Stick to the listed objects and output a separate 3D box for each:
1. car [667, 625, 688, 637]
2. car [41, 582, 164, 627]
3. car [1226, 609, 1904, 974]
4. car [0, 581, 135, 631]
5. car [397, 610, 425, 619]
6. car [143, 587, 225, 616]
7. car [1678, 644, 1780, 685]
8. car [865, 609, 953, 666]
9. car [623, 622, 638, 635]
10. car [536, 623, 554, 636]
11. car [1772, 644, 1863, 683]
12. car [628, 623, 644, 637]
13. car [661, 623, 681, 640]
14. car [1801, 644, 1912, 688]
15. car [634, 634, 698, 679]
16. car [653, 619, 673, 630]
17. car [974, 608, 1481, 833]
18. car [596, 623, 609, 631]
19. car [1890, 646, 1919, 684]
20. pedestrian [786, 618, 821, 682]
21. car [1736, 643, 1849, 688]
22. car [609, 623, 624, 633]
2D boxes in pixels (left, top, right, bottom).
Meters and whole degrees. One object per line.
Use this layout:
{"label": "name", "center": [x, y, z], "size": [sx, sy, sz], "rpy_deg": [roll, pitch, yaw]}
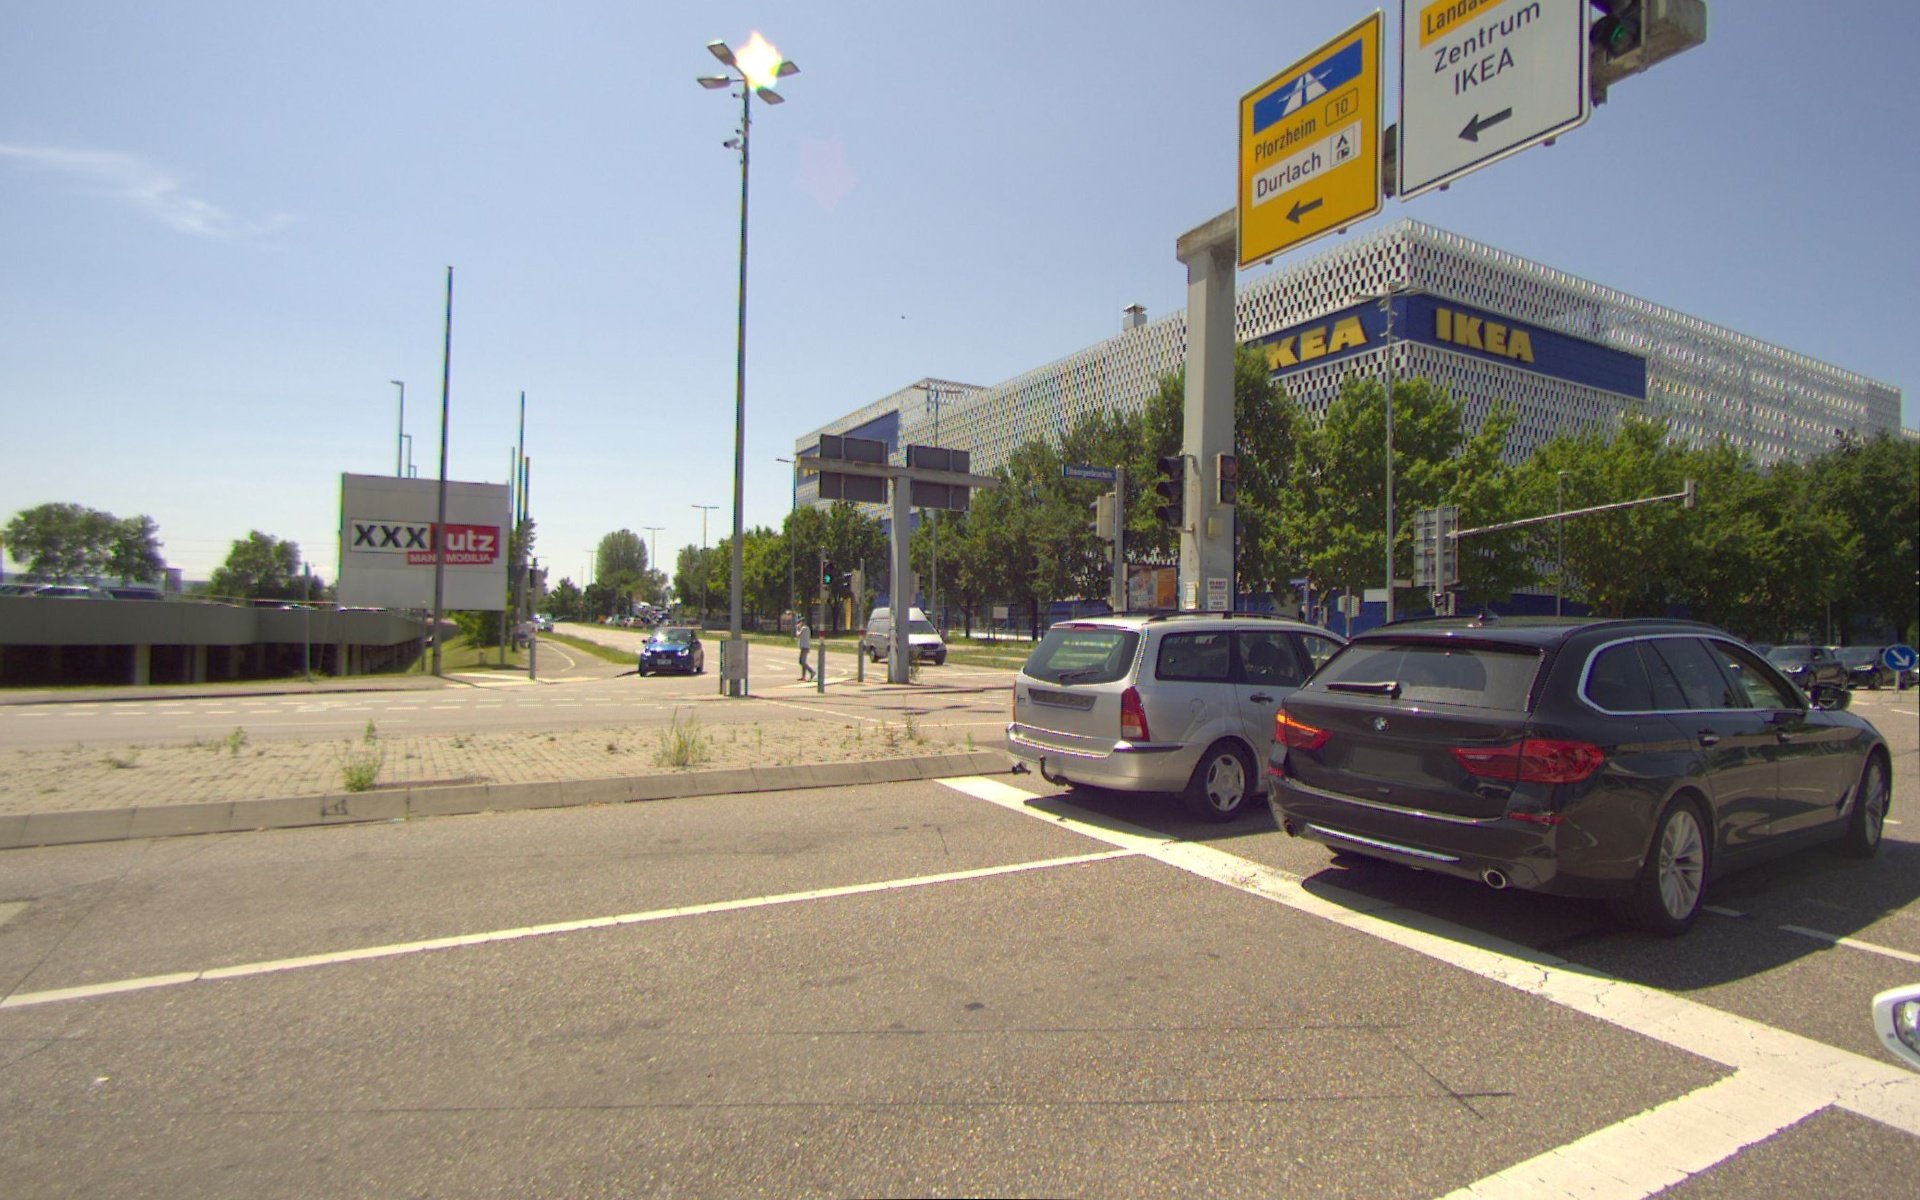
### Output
{"label": "car", "center": [-38.693, 4.278, 137.562], "size": [1.975, 1.572, 3.972], "rpy_deg": [2, -2, -27]}
{"label": "car", "center": [-41.978, 0.271, 49.326], "size": [4.285, 2.040, 1.981], "rpy_deg": [2, -2, -34]}
{"label": "car", "center": [3.824, 0.837, 6.050], "size": [4.510, 1.459, 1.786], "rpy_deg": [2, -1, -34]}
{"label": "car", "center": [-39.366, 0.297, 44.355], "size": [4.284, 2.040, 1.982], "rpy_deg": [2, -2, -34]}
{"label": "car", "center": [-93.382, 2.447, 170.972], "size": [3.974, 1.441, 1.679], "rpy_deg": [3, -2, -39]}
{"label": "car", "center": [-52.541, 0.141, 68.125], "size": [4.086, 1.764, 1.770], "rpy_deg": [2, -2, -30]}
{"label": "car", "center": [28.690, 2.417, 37.473], "size": [3.992, 1.442, 1.653], "rpy_deg": [3, -3, -31]}
{"label": "car", "center": [-2.234, 1.544, 42.114], "size": [1.973, 2.212, 5.019], "rpy_deg": [1, -2, -25]}
{"label": "car", "center": [-48.993, 4.225, 149.389], "size": [1.607, 1.938, 3.474], "rpy_deg": [1, -2, -27]}
{"label": "car", "center": [-52.759, 3.744, 127.674], "size": [1.836, 1.528, 3.971], "rpy_deg": [2, -2, -28]}
{"label": "car", "center": [35.646, 2.644, 41.733], "size": [3.870, 1.564, 1.718], "rpy_deg": [3, -3, -31]}
{"label": "car", "center": [-46.303, 4.285, 143.548], "size": [1.607, 1.835, 3.474], "rpy_deg": [1, -2, -27]}
{"label": "car", "center": [-35.117, 3.855, 122.080], "size": [1.750, 2.040, 3.813], "rpy_deg": [1, -2, -26]}
{"label": "car", "center": [32.295, 2.393, 36.167], "size": [4.193, 1.524, 1.719], "rpy_deg": [3, -4, -30]}
{"label": "car", "center": [-9.777, 1.840, 33.252], "size": [1.599, 1.382, 3.417], "rpy_deg": [1, -2, -24]}
{"label": "car", "center": [-42.763, 3.551, 144.521], "size": [1.976, 1.572, 3.970], "rpy_deg": [2, -2, -29]}
{"label": "car", "center": [2.249, 0.824, 8.240], "size": [3.959, 1.441, 1.685], "rpy_deg": [1, 0, -29]}
{"label": "car", "center": [-60.639, 4.622, 170.376], "size": [1.608, 1.368, 3.472], "rpy_deg": [2, -2, -29]}
{"label": "car", "center": [39.440, 2.634, 40.224], "size": [4.660, 1.464, 1.720], "rpy_deg": [2, -4, -28]}
{"label": "pedestrian", "center": [-4.532, 1.441, 29.086], "size": [0.816, 1.807, 0.601], "rpy_deg": [2, -2, -27]}
{"label": "car", "center": [27.230, 2.163, 32.860], "size": [3.671, 1.407, 1.637], "rpy_deg": [3, -4, -30]}
{"label": "car", "center": [-55.252, 4.536, 161.553], "size": [1.608, 1.629, 3.471], "rpy_deg": [2, -2, -29]}
